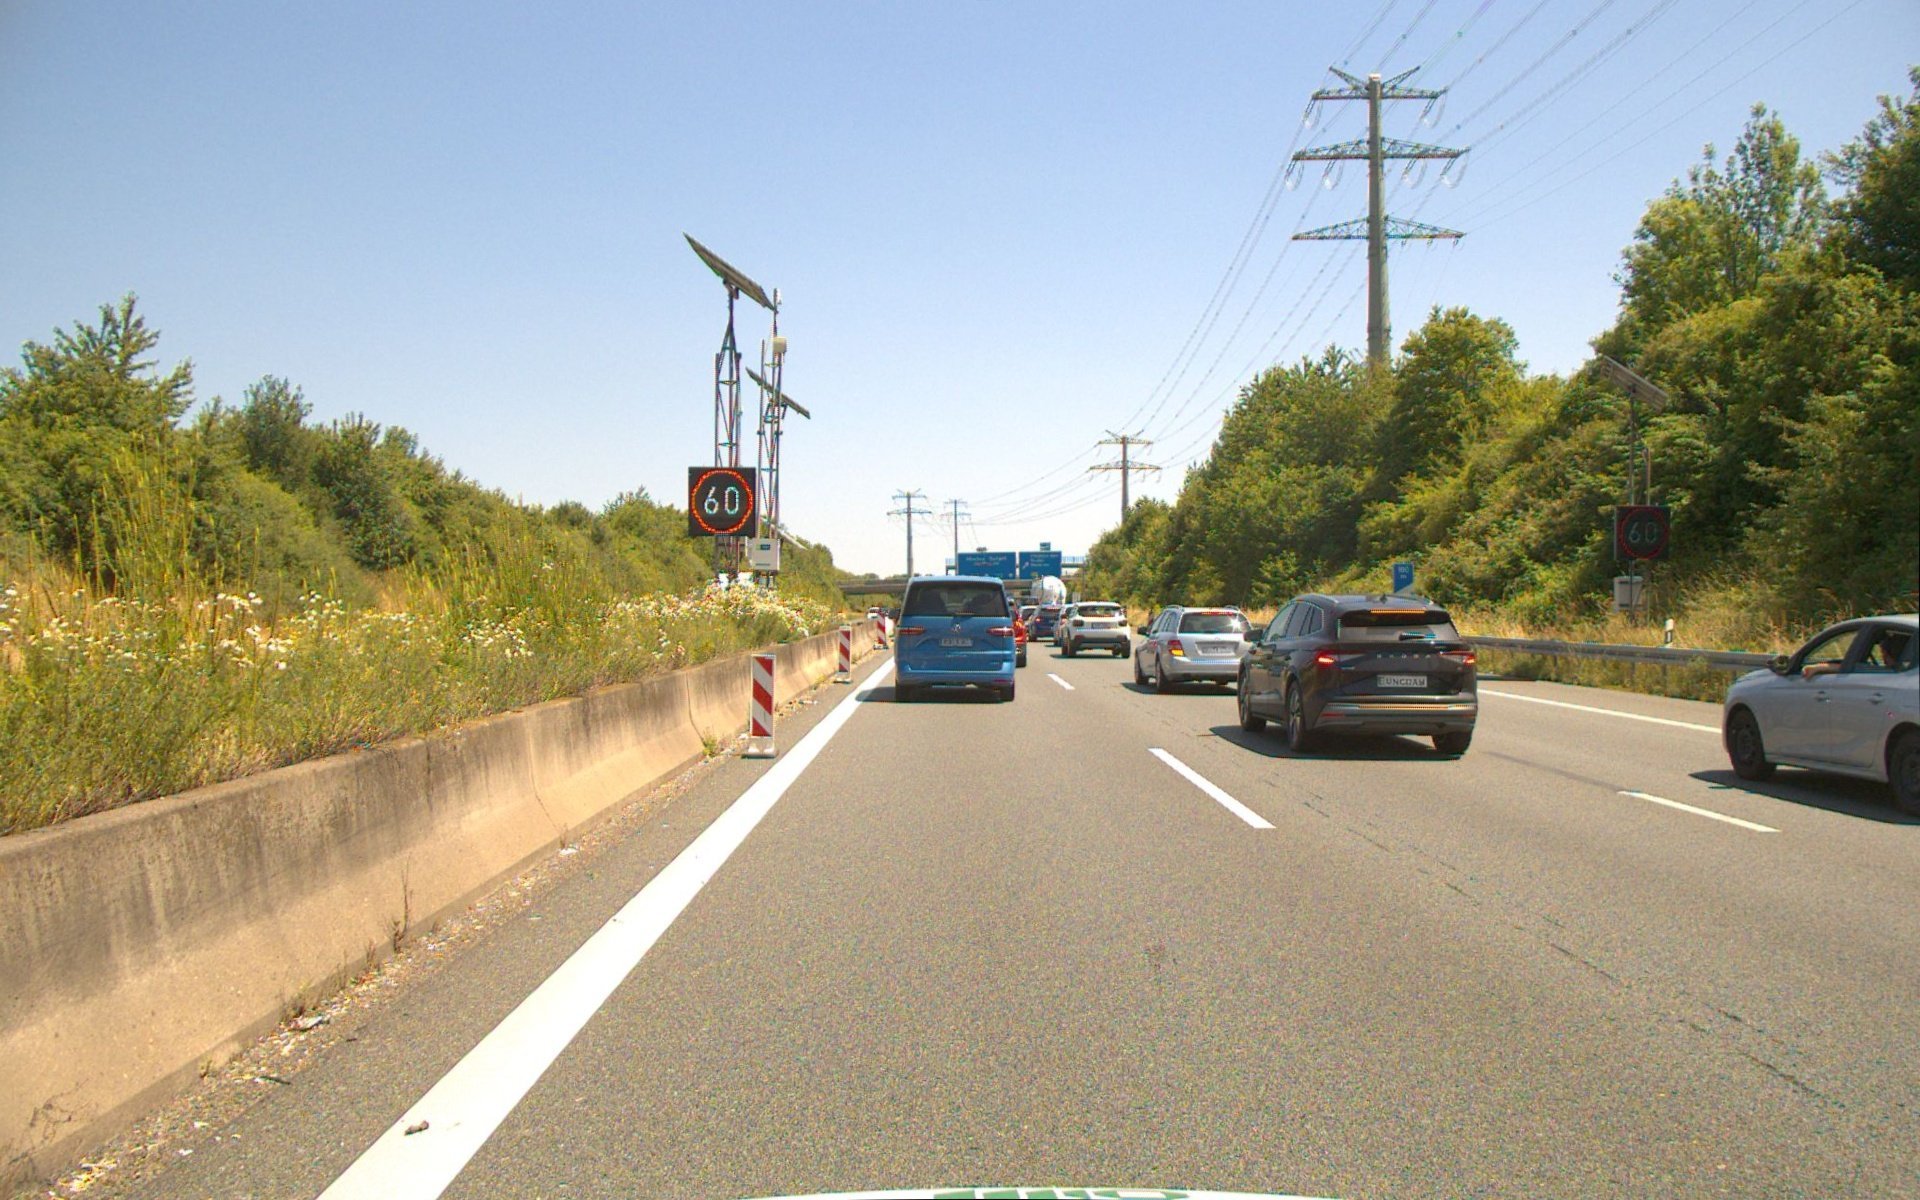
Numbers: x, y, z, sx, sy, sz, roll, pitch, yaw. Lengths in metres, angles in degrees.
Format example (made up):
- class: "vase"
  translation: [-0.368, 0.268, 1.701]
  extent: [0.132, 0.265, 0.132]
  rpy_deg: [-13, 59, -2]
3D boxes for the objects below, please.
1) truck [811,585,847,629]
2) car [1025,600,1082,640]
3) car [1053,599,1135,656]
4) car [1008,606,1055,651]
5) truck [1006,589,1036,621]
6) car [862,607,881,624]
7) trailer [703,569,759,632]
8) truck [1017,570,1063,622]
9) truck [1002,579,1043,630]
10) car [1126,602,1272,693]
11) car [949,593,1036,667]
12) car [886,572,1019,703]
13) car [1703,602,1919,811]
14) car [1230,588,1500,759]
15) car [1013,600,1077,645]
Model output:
- class: "truck"
  translation: [-12.445, 0.684, 157.439]
  extent: [2.706, 3.956, 9.027]
  rpy_deg: [-2, 0, -1]
- class: "car"
  translation: [3.739, 0.784, 67.039]
  extent: [1.870, 1.542, 4.381]
  rpy_deg: [1, 0, -2]
- class: "car"
  translation: [3.802, 0.761, 47.406]
  extent: [1.870, 1.534, 3.919]
  rpy_deg: [1, 0, -2]
- class: "car"
  translation: [3.371, 1.335, 78.679]
  extent: [1.953, 2.049, 3.999]
  rpy_deg: [1, 0, -1]
- class: "truck"
  translation: [7.069, 0.552, 192.276]
  extent: [2.591, 3.600, 12.547]
  rpy_deg: [1, 0, -2]
- class: "car"
  translation: [-8.185, 1.411, 153.042]
  extent: [1.551, 1.468, 4.000]
  rpy_deg: [1, 0, 0]
- class: "trailer"
  translation: [-15.589, 0.044, 112.953]
  extent: [2.901, 4.128, 5.433]
  rpy_deg: [-2, 0, 0]
- class: "truck"
  translation: [6.747, -0.305, 141.746]
  extent: [2.591, 4.143, 16.435]
  rpy_deg: [1, 0, -2]
- class: "truck"
  translation: [3.548, 0.248, 94.914]
  extent: [1.953, 2.771, 5.678]
  rpy_deg: [1, 0, -2]
- class: "car"
  translation: [4.168, 0.783, 29.455]
  extent: [1.784, 1.462, 4.381]
  rpy_deg: [1, 0, -2]
- class: "car"
  translation: [0.731, 0.690, 39.961]
  extent: [1.870, 1.659, 4.382]
  rpy_deg: [0, 0, -2]
- class: "car"
  translation: [-0.211, 0.560, 26.693]
  extent: [1.834, 1.912, 4.380]
  rpy_deg: [1, 0, -4]
- class: "car"
  translation: [7.756, 0.781, 13.311]
  extent: [1.705, 1.496, 4.013]
  rpy_deg: [1, 0, -1]
- class: "car"
  translation: [4.283, 0.703, 18.222]
  extent: [1.791, 1.642, 4.429]
  rpy_deg: [1, 0, -1]
- class: "car"
  translation: [2.996, 0.775, 59.327]
  extent: [1.870, 1.542, 4.381]
  rpy_deg: [1, 0, -2]
